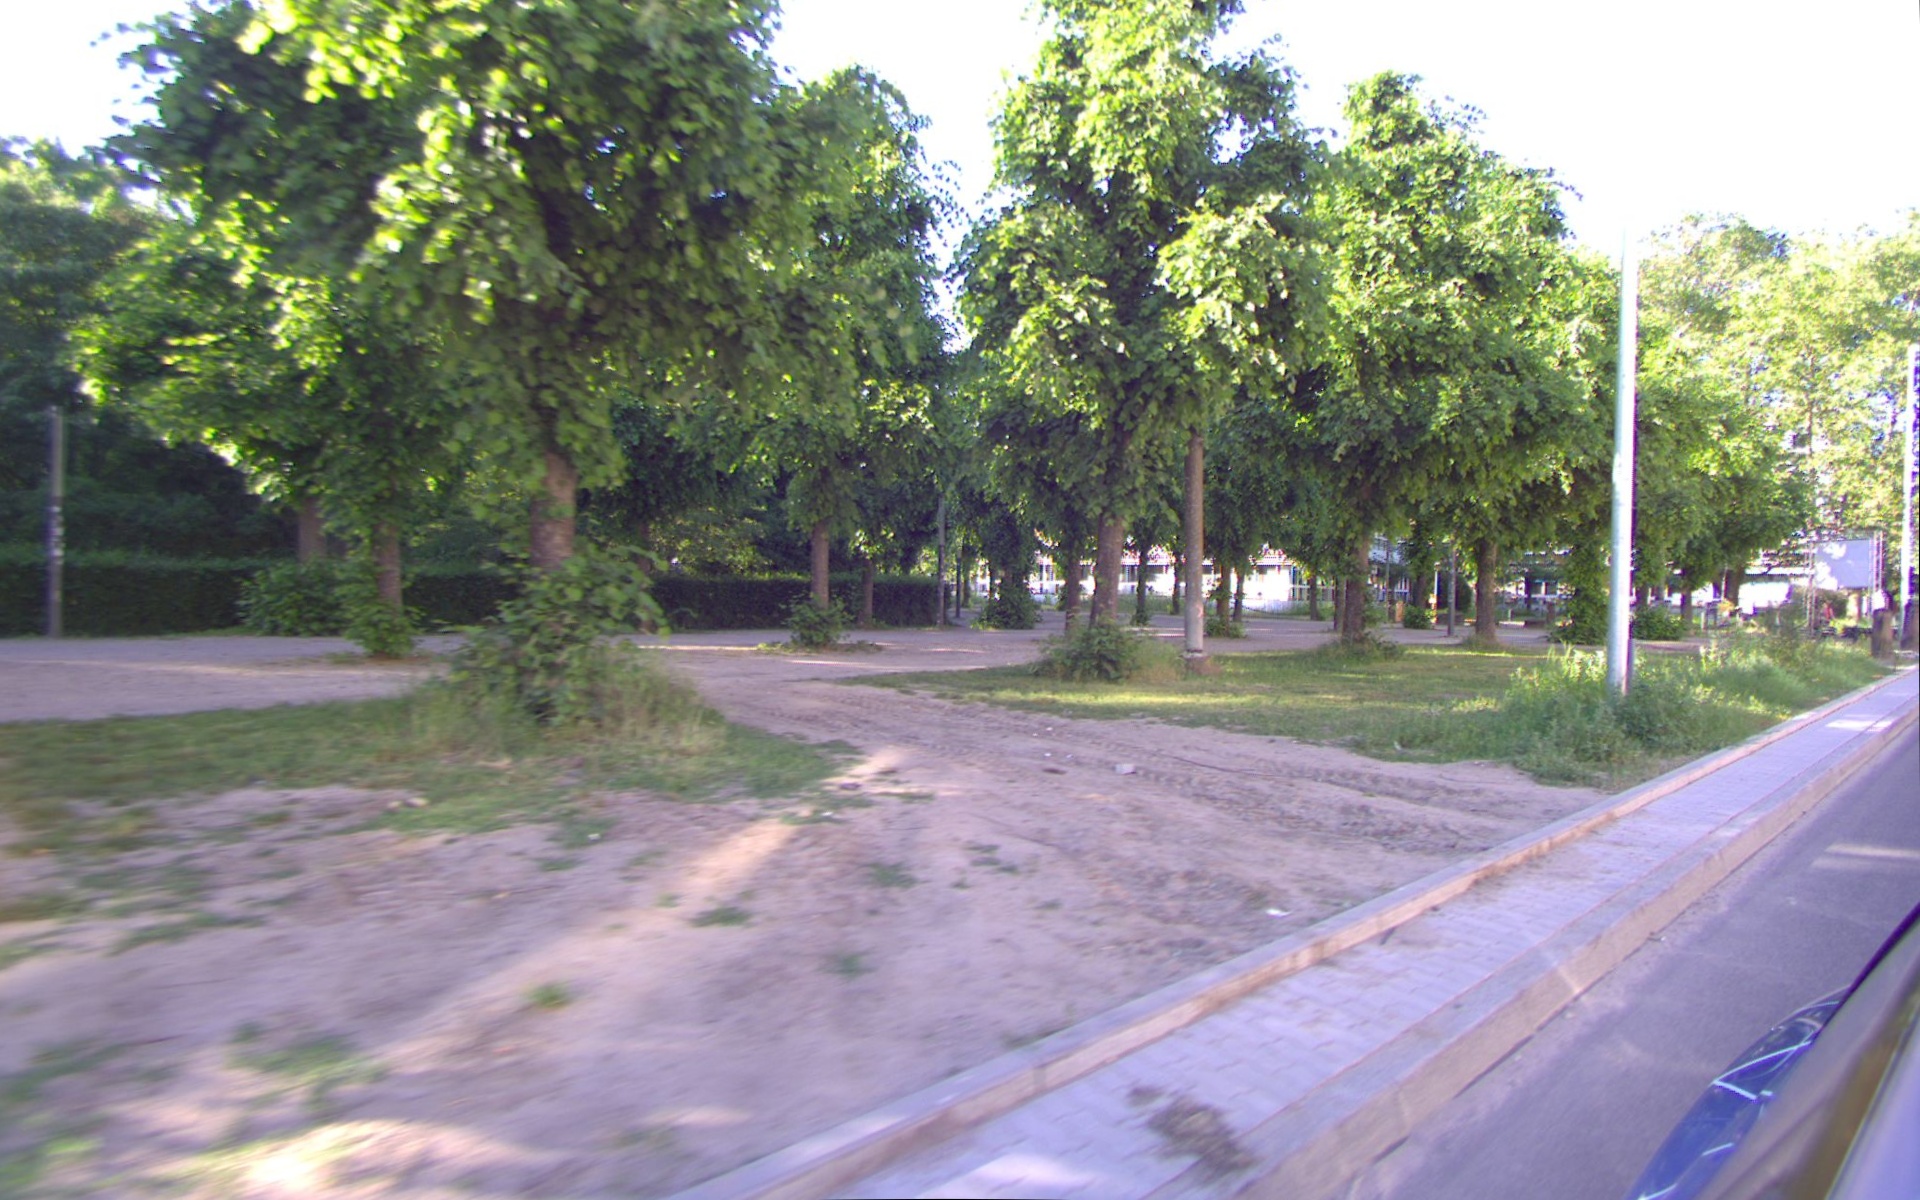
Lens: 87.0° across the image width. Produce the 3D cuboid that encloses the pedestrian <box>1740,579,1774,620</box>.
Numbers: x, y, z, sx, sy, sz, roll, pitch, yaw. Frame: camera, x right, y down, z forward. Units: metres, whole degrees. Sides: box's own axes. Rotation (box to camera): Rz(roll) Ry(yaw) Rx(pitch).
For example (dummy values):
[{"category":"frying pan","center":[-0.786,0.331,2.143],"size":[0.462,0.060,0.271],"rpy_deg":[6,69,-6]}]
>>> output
[{"category":"pedestrian","center":[36.211,-0.018,45.980],"size":[1.127,1.836,0.737],"rpy_deg":[2,-1,36]}]

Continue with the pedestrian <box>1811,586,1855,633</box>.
[{"category":"pedestrian","center":[31.042,0.314,36.003],"size":[0.923,1.644,0.709],"rpy_deg":[1,0,8]}]
